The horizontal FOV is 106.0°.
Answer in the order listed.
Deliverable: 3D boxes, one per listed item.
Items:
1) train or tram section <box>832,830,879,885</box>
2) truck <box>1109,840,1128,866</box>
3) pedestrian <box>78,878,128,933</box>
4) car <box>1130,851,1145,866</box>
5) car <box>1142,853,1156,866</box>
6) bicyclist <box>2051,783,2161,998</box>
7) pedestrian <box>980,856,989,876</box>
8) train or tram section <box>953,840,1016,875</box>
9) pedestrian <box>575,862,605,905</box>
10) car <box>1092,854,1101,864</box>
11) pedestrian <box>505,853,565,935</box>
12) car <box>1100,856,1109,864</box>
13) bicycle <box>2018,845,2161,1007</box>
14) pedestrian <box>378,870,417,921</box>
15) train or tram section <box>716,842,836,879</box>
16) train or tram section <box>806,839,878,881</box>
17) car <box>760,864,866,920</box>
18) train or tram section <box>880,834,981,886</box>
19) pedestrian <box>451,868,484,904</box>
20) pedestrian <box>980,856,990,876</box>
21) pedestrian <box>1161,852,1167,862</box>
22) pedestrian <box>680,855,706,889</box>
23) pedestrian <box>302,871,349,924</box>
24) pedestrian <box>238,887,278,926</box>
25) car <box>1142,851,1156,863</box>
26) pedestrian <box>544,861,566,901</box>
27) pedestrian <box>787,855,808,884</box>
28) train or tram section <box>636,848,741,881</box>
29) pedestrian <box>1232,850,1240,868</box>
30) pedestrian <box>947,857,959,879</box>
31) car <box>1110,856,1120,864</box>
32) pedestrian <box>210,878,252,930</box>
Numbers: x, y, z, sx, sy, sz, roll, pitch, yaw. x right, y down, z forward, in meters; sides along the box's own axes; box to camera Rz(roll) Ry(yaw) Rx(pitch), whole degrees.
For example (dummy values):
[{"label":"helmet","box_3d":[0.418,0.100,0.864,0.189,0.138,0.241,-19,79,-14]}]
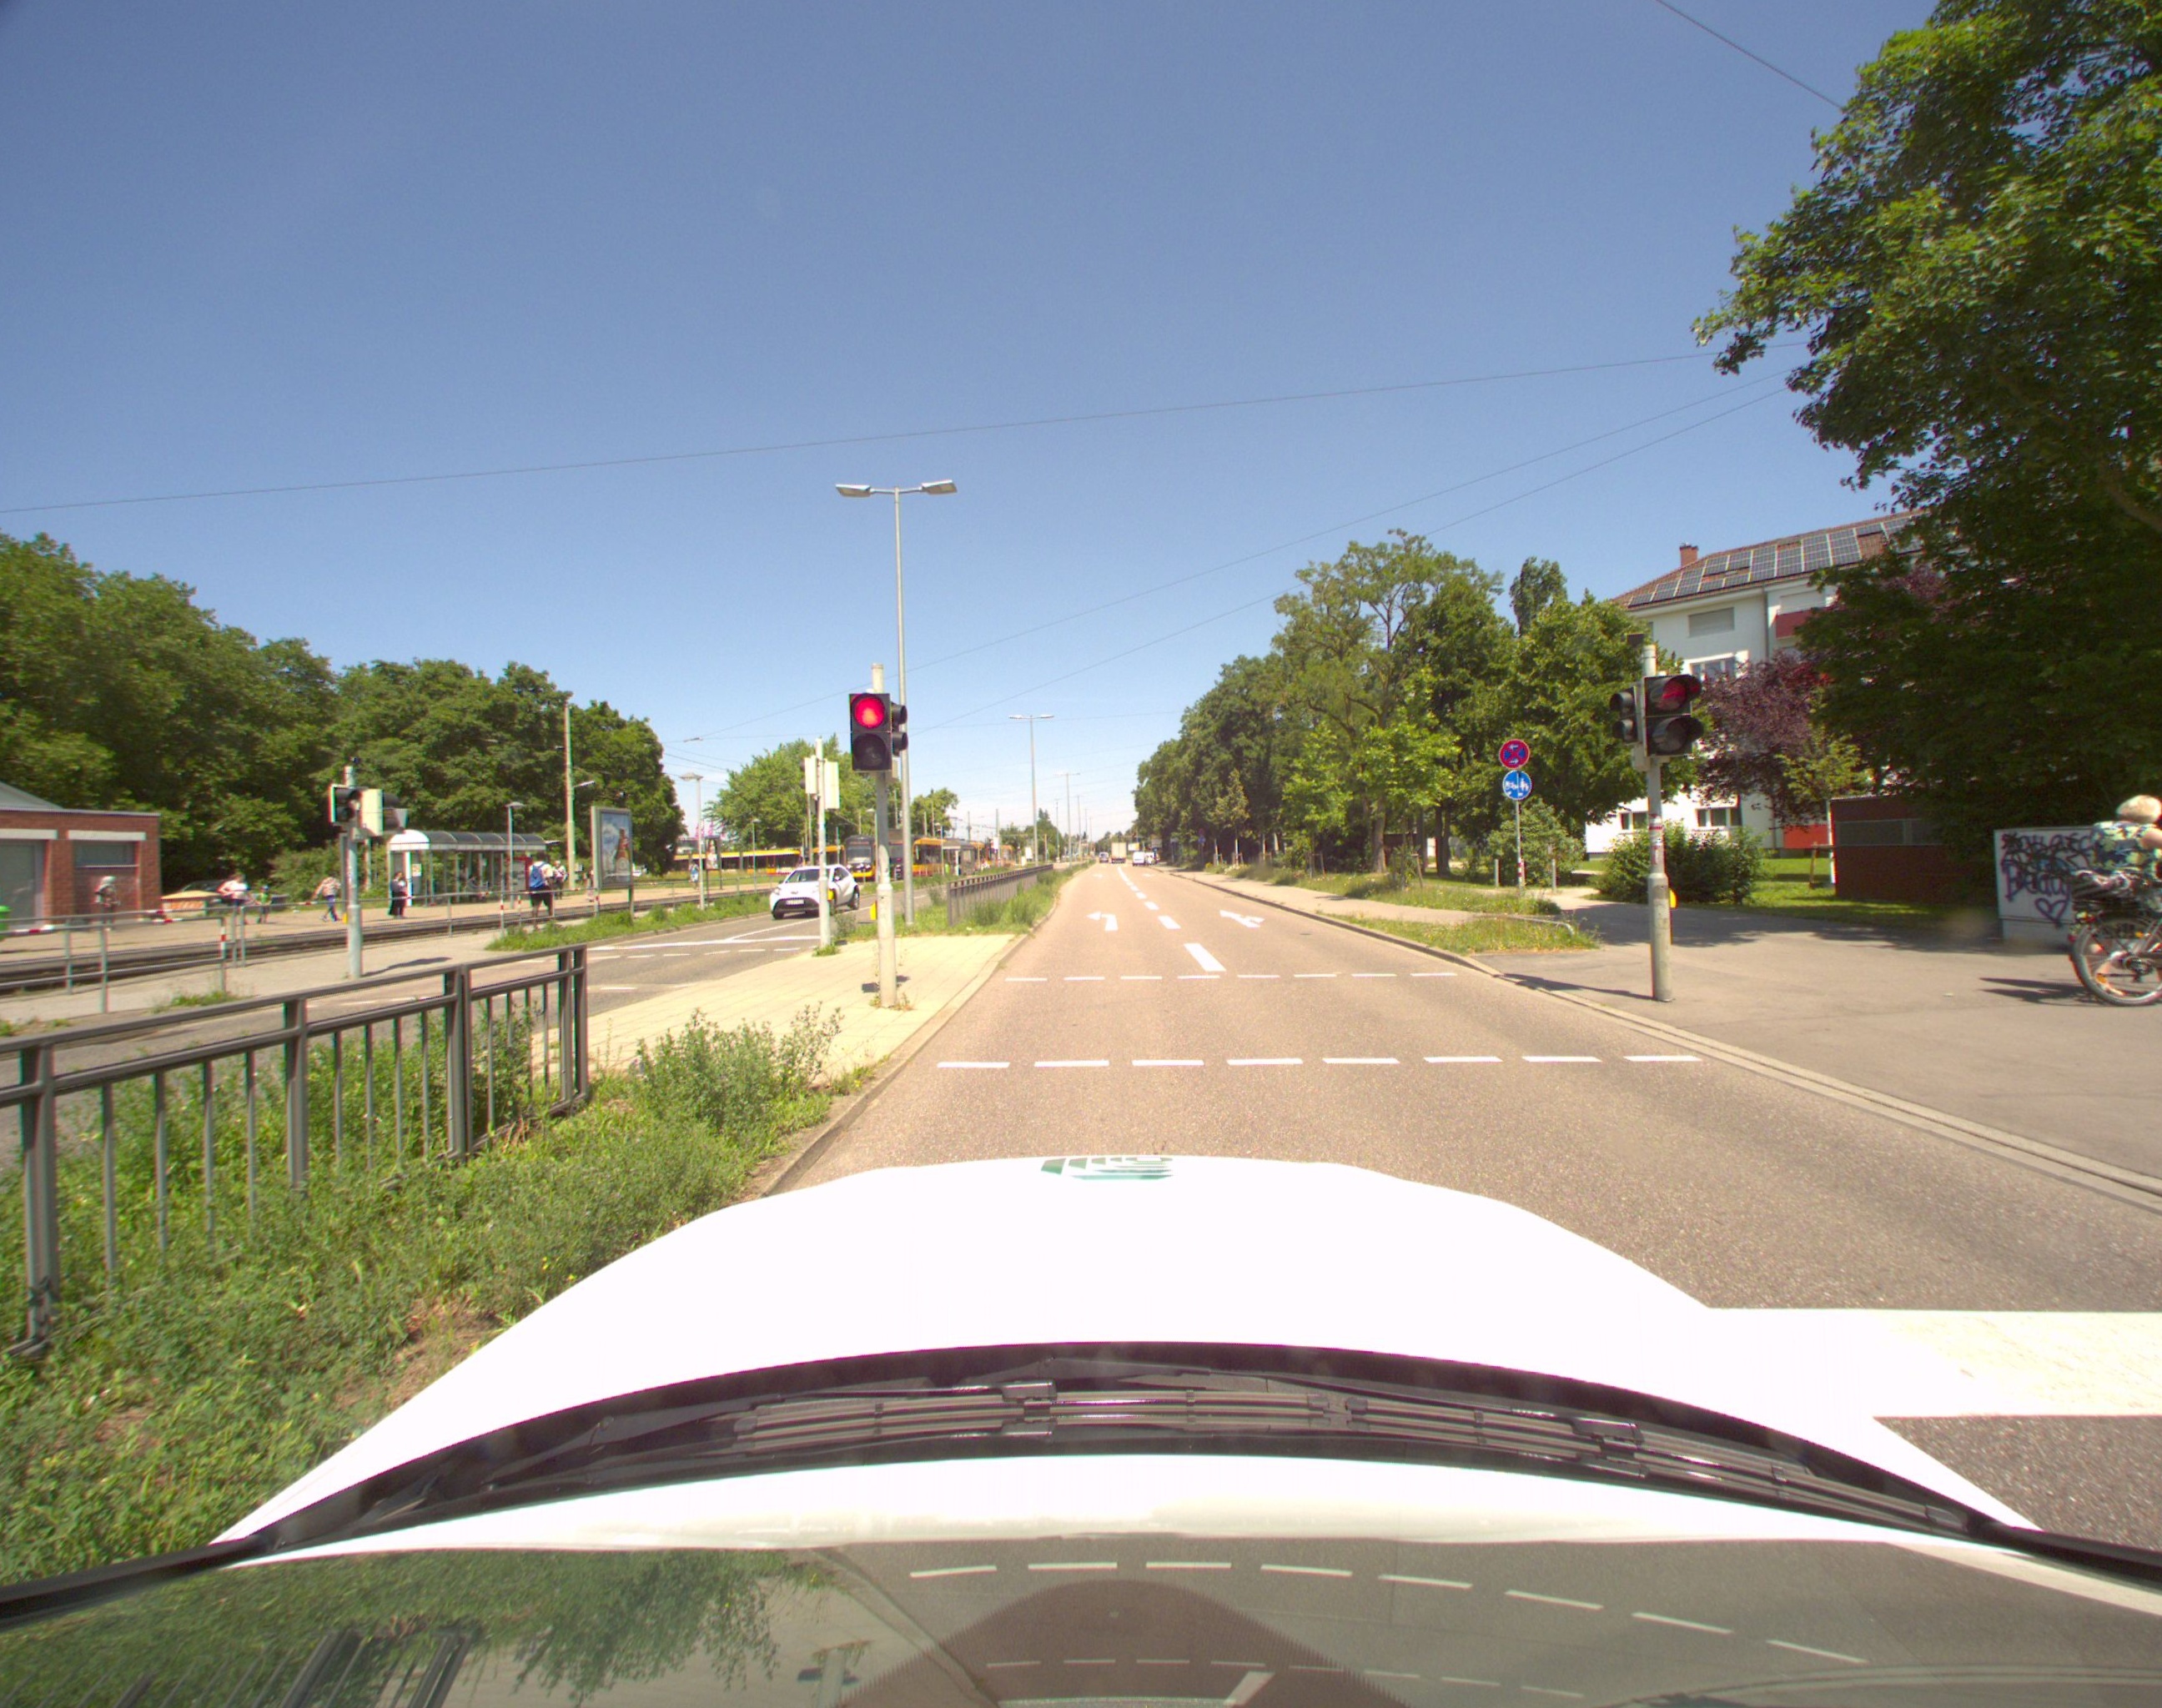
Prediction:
[{"label":"train or tram section","box_3d":[-18.768,0.302,68.579,3.220,3.931,18.409,-2,0,-14]},{"label":"truck","box_3d":[6.772,-0.170,146.141,3.193,4.359,6.563,-2,0,2]},{"label":"pedestrian","box_3d":[-26.848,1.406,22.360,0.636,1.480,0.570,-2,0,1]},{"label":"car","box_3d":[7.298,0.561,105.544,1.773,1.903,4.002,-2,0,2]},{"label":"car","box_3d":[9.387,0.718,112.425,1.773,1.668,4.002,-2,0,2]},{"label":"bicyclist","box_3d":[8.786,0.265,6.625,0.951,1.666,0.582,-4,1,12]},{"label":"pedestrian","box_3d":[-10.129,1.252,85.370,0.812,2.013,0.939,-2,0,1]},{"label":"train or tram section","box_3d":[-12.040,0.416,106.720,2.920,3.789,33.103,-2,0,2]},{"label":"pedestrian","box_3d":[-21.214,1.251,35.188,0.715,1.777,0.843,3,2,1]},{"label":"car","box_3d":[3.326,1.095,175.336,1.986,2.013,4.002,-2,0,2]},{"label":"pedestrian","box_3d":[-12.431,0.897,18.567,0.715,1.777,0.843,3,2,1]},{"label":"car","box_3d":[4.559,1.170,158.010,1.804,1.464,4.002,-2,0,2]},{"label":"bicycle","box_3d":[8.734,0.520,6.328,1.944,1.161,0.543,-4,1,12]},{"label":"pedestrian","box_3d":[-21.540,1.292,25.667,0.635,1.555,0.691,-2,0,-11]},{"label":"train or tram section","box_3d":[-36.815,0.850,97.617,18.260,3.931,3.247,-2,0,33]},{"label":"train or tram section","box_3d":[-25.410,0.666,85.517,3.235,3.931,18.324,-1,0,-29]},{"label":"car","box_3d":[-8.099,1.109,24.957,1.838,1.494,3.793,-2,0,2]},{"label":"train or tram section","box_3d":[-12.958,0.422,75.244,2.947,3.749,30.040,-2,0,1]},{"label":"pedestrian","box_3d":[-26.281,1.373,34.900,0.836,1.511,0.723,-2,0,12]},{"label":"pedestrian","box_3d":[-9.909,1.239,84.070,0.812,2.013,0.939,-2,0,1]},{"label":"pedestrian","box_3d":[16.814,0.559,164.639,1.180,2.013,1.214,-2,0,1]},{"label":"pedestrian","box_3d":[-22.974,1.051,48.241,0.977,2.013,1.021,-2,0,1]},{"label":"pedestrian","box_3d":[-23.529,1.332,25.380,0.669,1.590,0.808,-2,0,1]},{"label":"pedestrian","box_3d":[-24.500,1.564,24.249,0.634,1.124,0.572,-2,0,16]},{"label":"car","box_3d":[9.909,0.460,118.766,1.773,1.668,4.002,-2,0,2]},{"label":"pedestrian","box_3d":[-24.433,1.246,37.819,0.725,1.800,0.835,-1,-1,-41]},{"label":"pedestrian","box_3d":[-19.575,1.068,56.257,0.977,2.013,1.021,-2,0,1]},{"label":"train or tram section","box_3d":[-51.982,1.401,107.432,18.260,3.931,3.247,-2,0,32]},{"label":"pedestrian","box_3d":[12.651,0.375,66.490,0.600,1.438,0.557,-2,0,8]},{"label":"pedestrian","box_3d":[-10.978,1.200,69.733,0.783,1.868,0.818,-2,0,1]},{"label":"car","box_3d":[6.487,1.143,153.693,1.804,1.464,4.002,-2,0,2]},{"label":"pedestrian","box_3d":[-24.573,1.430,23.551,0.634,1.456,0.585,-2,0,16]}]
